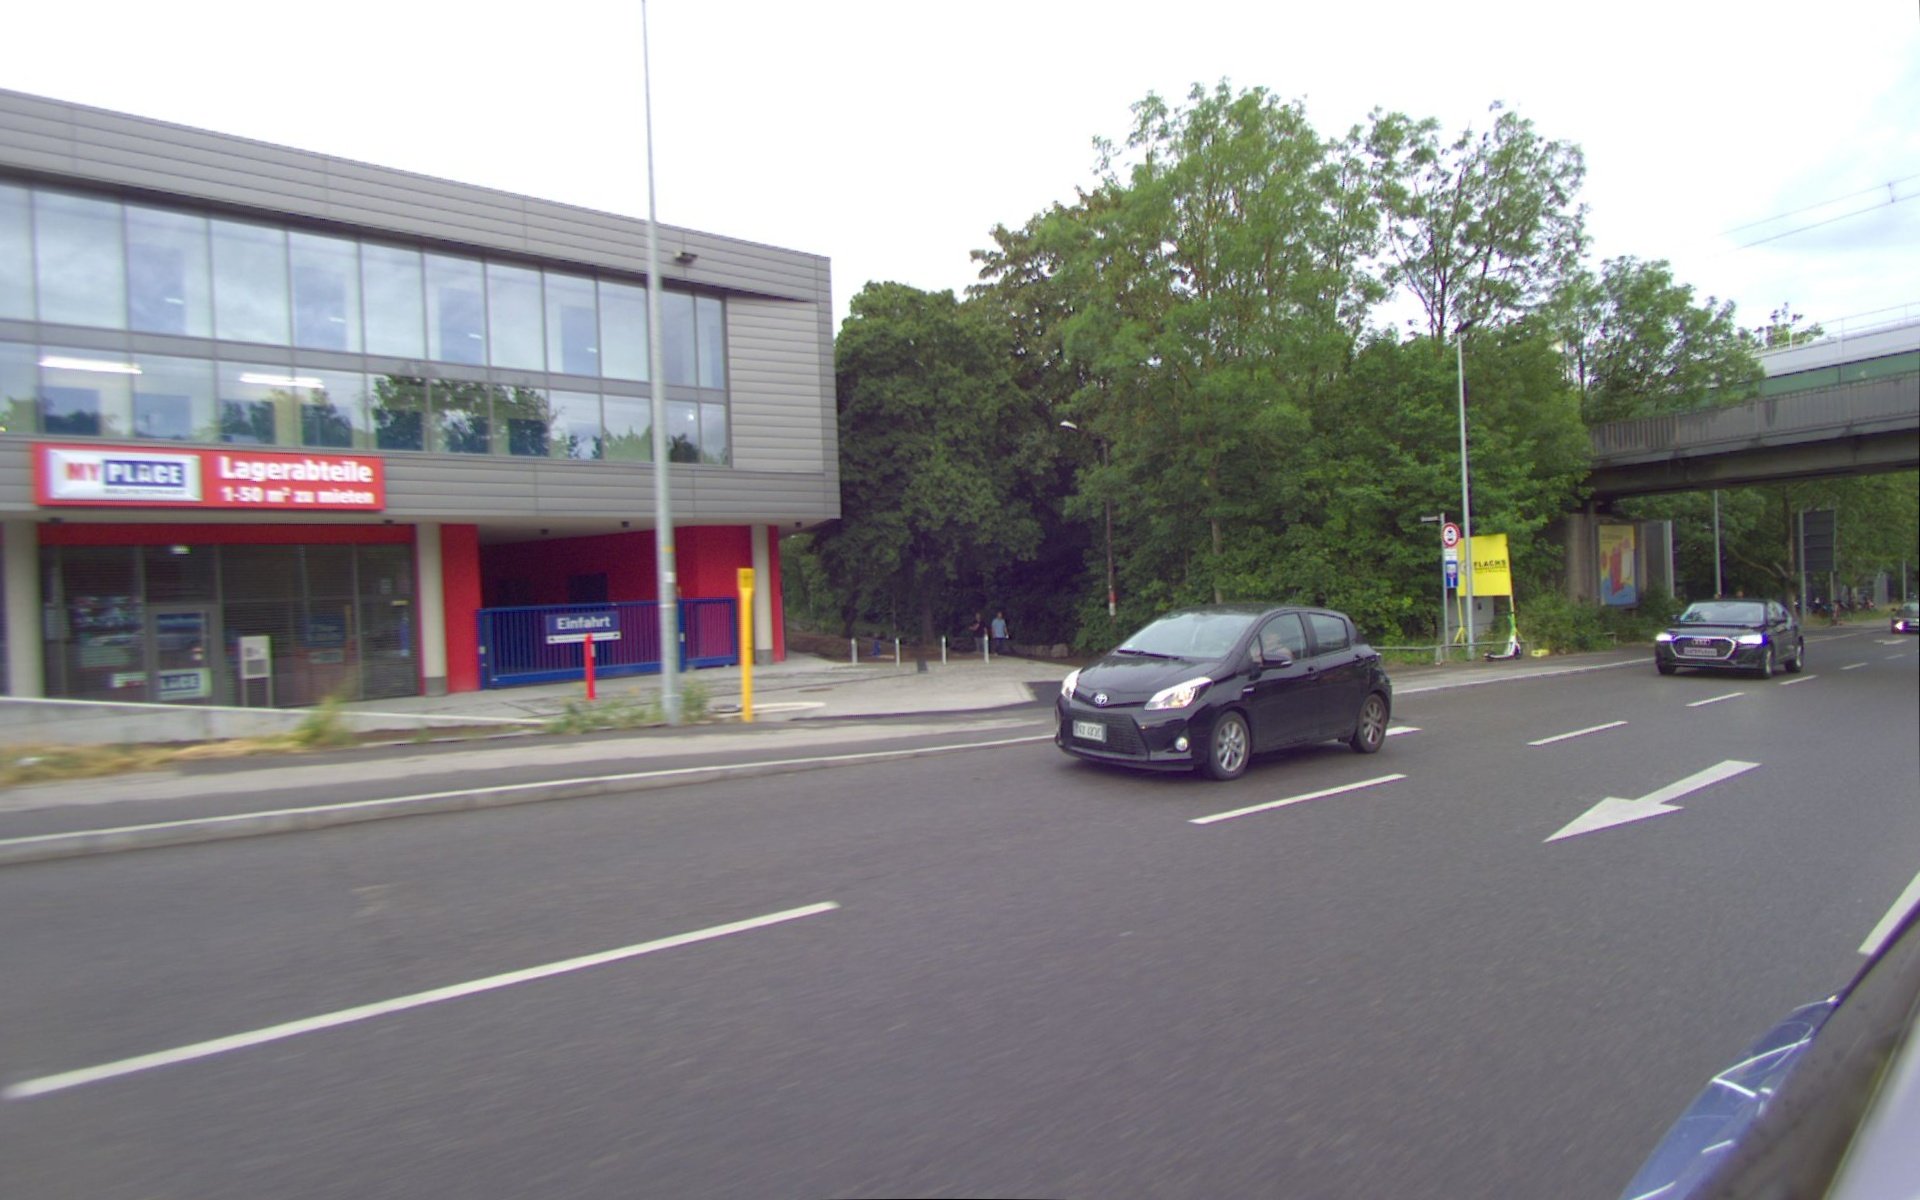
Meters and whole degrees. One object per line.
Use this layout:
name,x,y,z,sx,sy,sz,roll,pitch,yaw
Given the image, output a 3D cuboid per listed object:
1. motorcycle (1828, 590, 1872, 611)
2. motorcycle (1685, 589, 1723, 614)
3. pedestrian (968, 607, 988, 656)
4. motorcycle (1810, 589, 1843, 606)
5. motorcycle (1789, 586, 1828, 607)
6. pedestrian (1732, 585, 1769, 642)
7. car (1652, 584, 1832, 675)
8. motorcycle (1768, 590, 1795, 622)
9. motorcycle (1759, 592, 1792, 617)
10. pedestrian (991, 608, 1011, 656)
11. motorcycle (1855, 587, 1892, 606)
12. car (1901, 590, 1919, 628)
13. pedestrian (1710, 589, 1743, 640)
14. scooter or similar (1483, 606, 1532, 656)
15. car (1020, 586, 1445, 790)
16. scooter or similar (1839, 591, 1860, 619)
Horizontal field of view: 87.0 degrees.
motorcycle,51.837,0.057,58.975,1.842,1.206,0.515,-1,0,36
motorcycle,40.488,0.079,55.070,2.028,1.295,0.350,-1,0,-11
pedestrian,0.688,1.199,38.886,0.612,1.839,0.587,-1,-1,-11
motorcycle,60.983,-0.177,71.223,0.548,1.160,1.645,-2,-1,-28
motorcycle,57.655,-0.229,68.772,0.498,1.382,1.929,-1,-2,-44
pedestrian,24.786,0.421,31.724,0.874,1.743,0.613,-1,0,-30
car,16.376,0.528,21.072,5.510,1.564,1.818,-2,0,-40
motorcycle,31.297,0.220,38.546,1.787,1.151,0.470,-1,0,-41
motorcycle,42.995,0.240,53.368,0.621,1.269,1.845,-1,0,15
pedestrian,1.584,1.220,39.105,0.588,1.839,0.587,-1,-1,-11
motorcycle,59.158,-0.208,65.519,0.483,1.165,1.659,-2,-1,-31
car,41.224,0.324,42.627,4.438,1.448,1.748,-2,0,-40
pedestrian,24.477,0.453,32.331,0.567,1.616,0.653,-1,0,-28
scooter or similar,13.063,0.736,24.137,1.253,1.144,0.256,-1,-1,-23
car,2.868,0.687,10.043,4.559,1.488,1.748,-2,0,-40
scooter or similar,43.136,0.248,49.094,1.281,1.315,0.313,-2,0,-28
